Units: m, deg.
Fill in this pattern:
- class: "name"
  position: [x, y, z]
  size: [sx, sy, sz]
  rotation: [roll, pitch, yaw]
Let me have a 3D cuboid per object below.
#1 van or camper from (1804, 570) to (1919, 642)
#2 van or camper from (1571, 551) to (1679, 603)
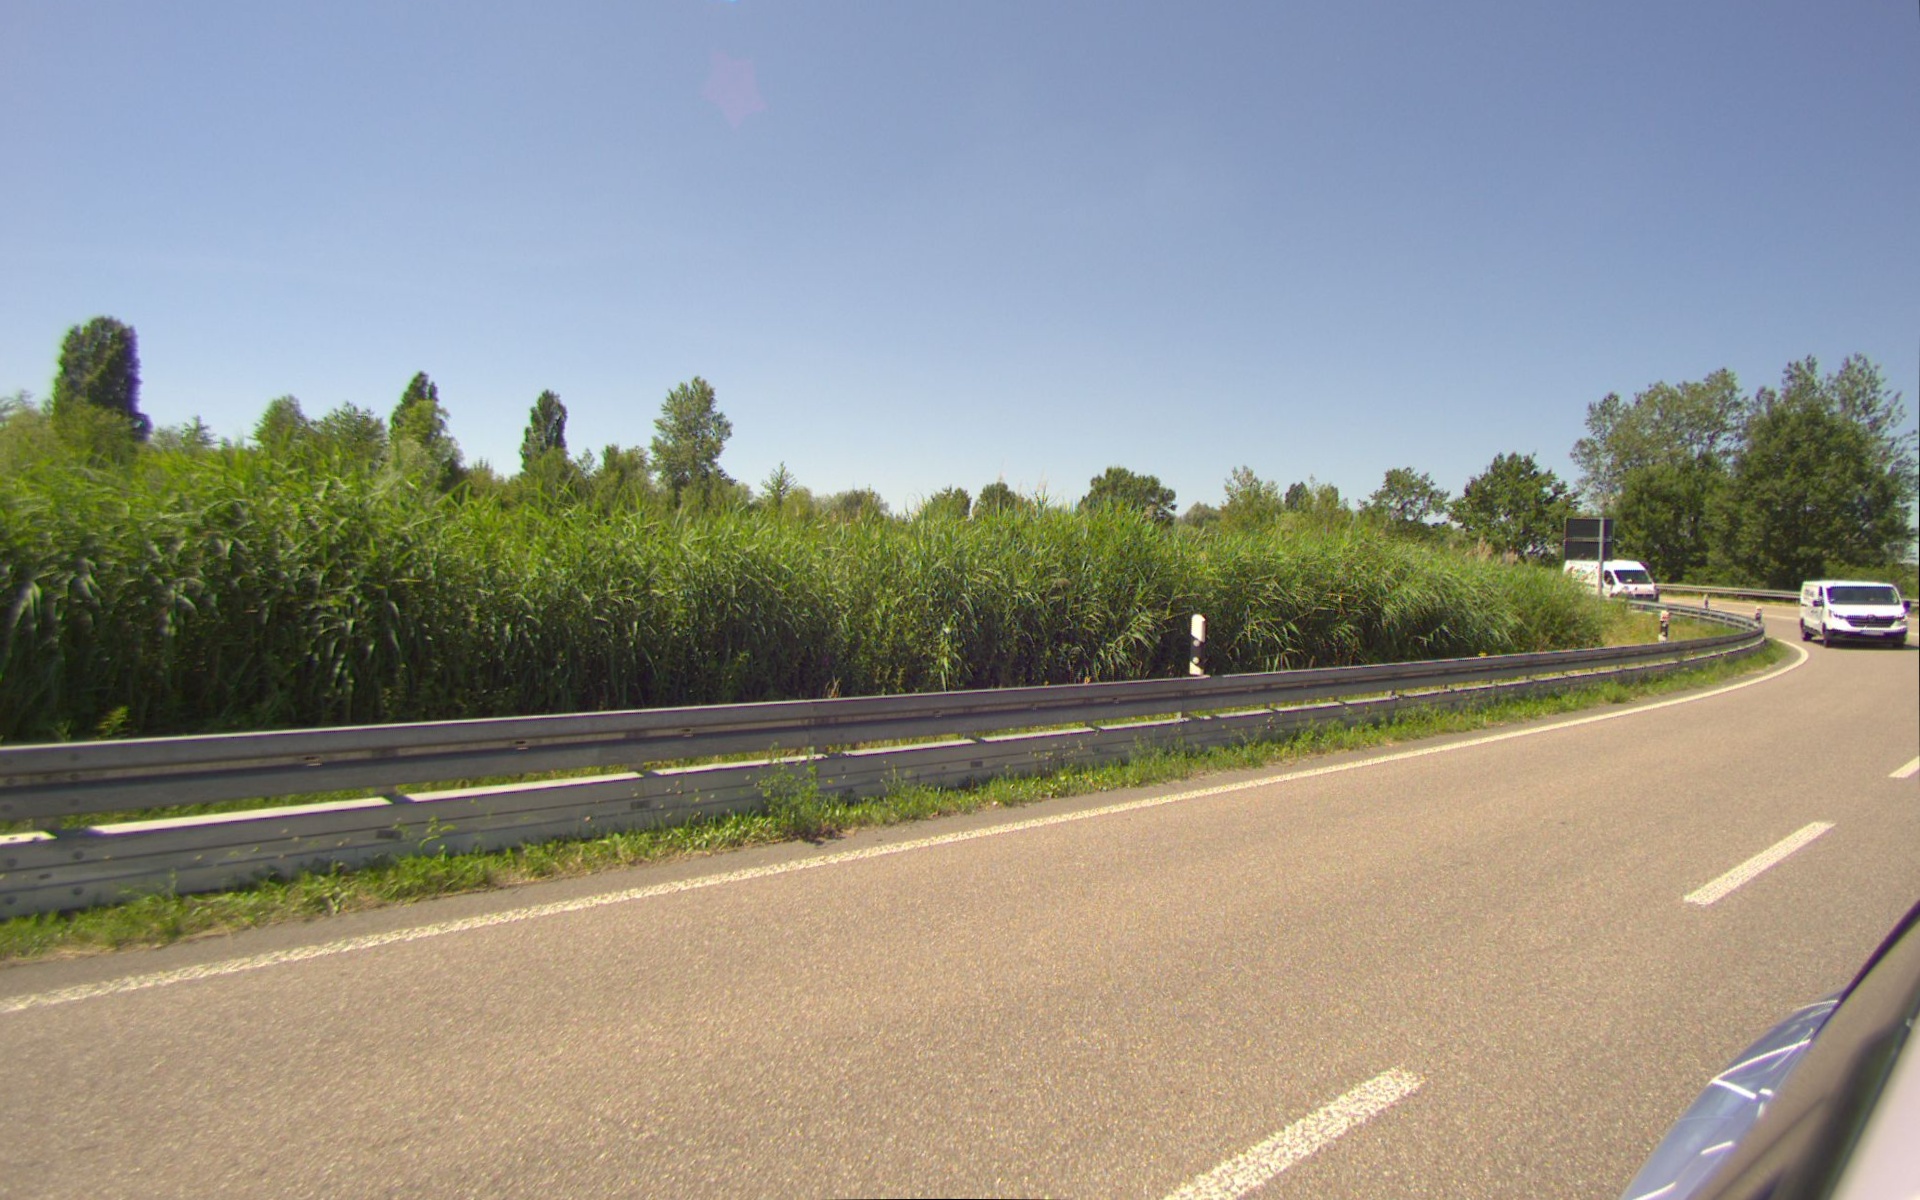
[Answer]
- class: "van or camper"
  position: [28.322, 0.150, 31.710]
  size: [1.993, 2.057, 5.389]
  rotation: [0, 0, 30]
- class: "van or camper"
  position: [35.675, -1.302, 54.520]
  size: [2.037, 2.585, 6.046]
  rotation: [-2, 3, 3]
